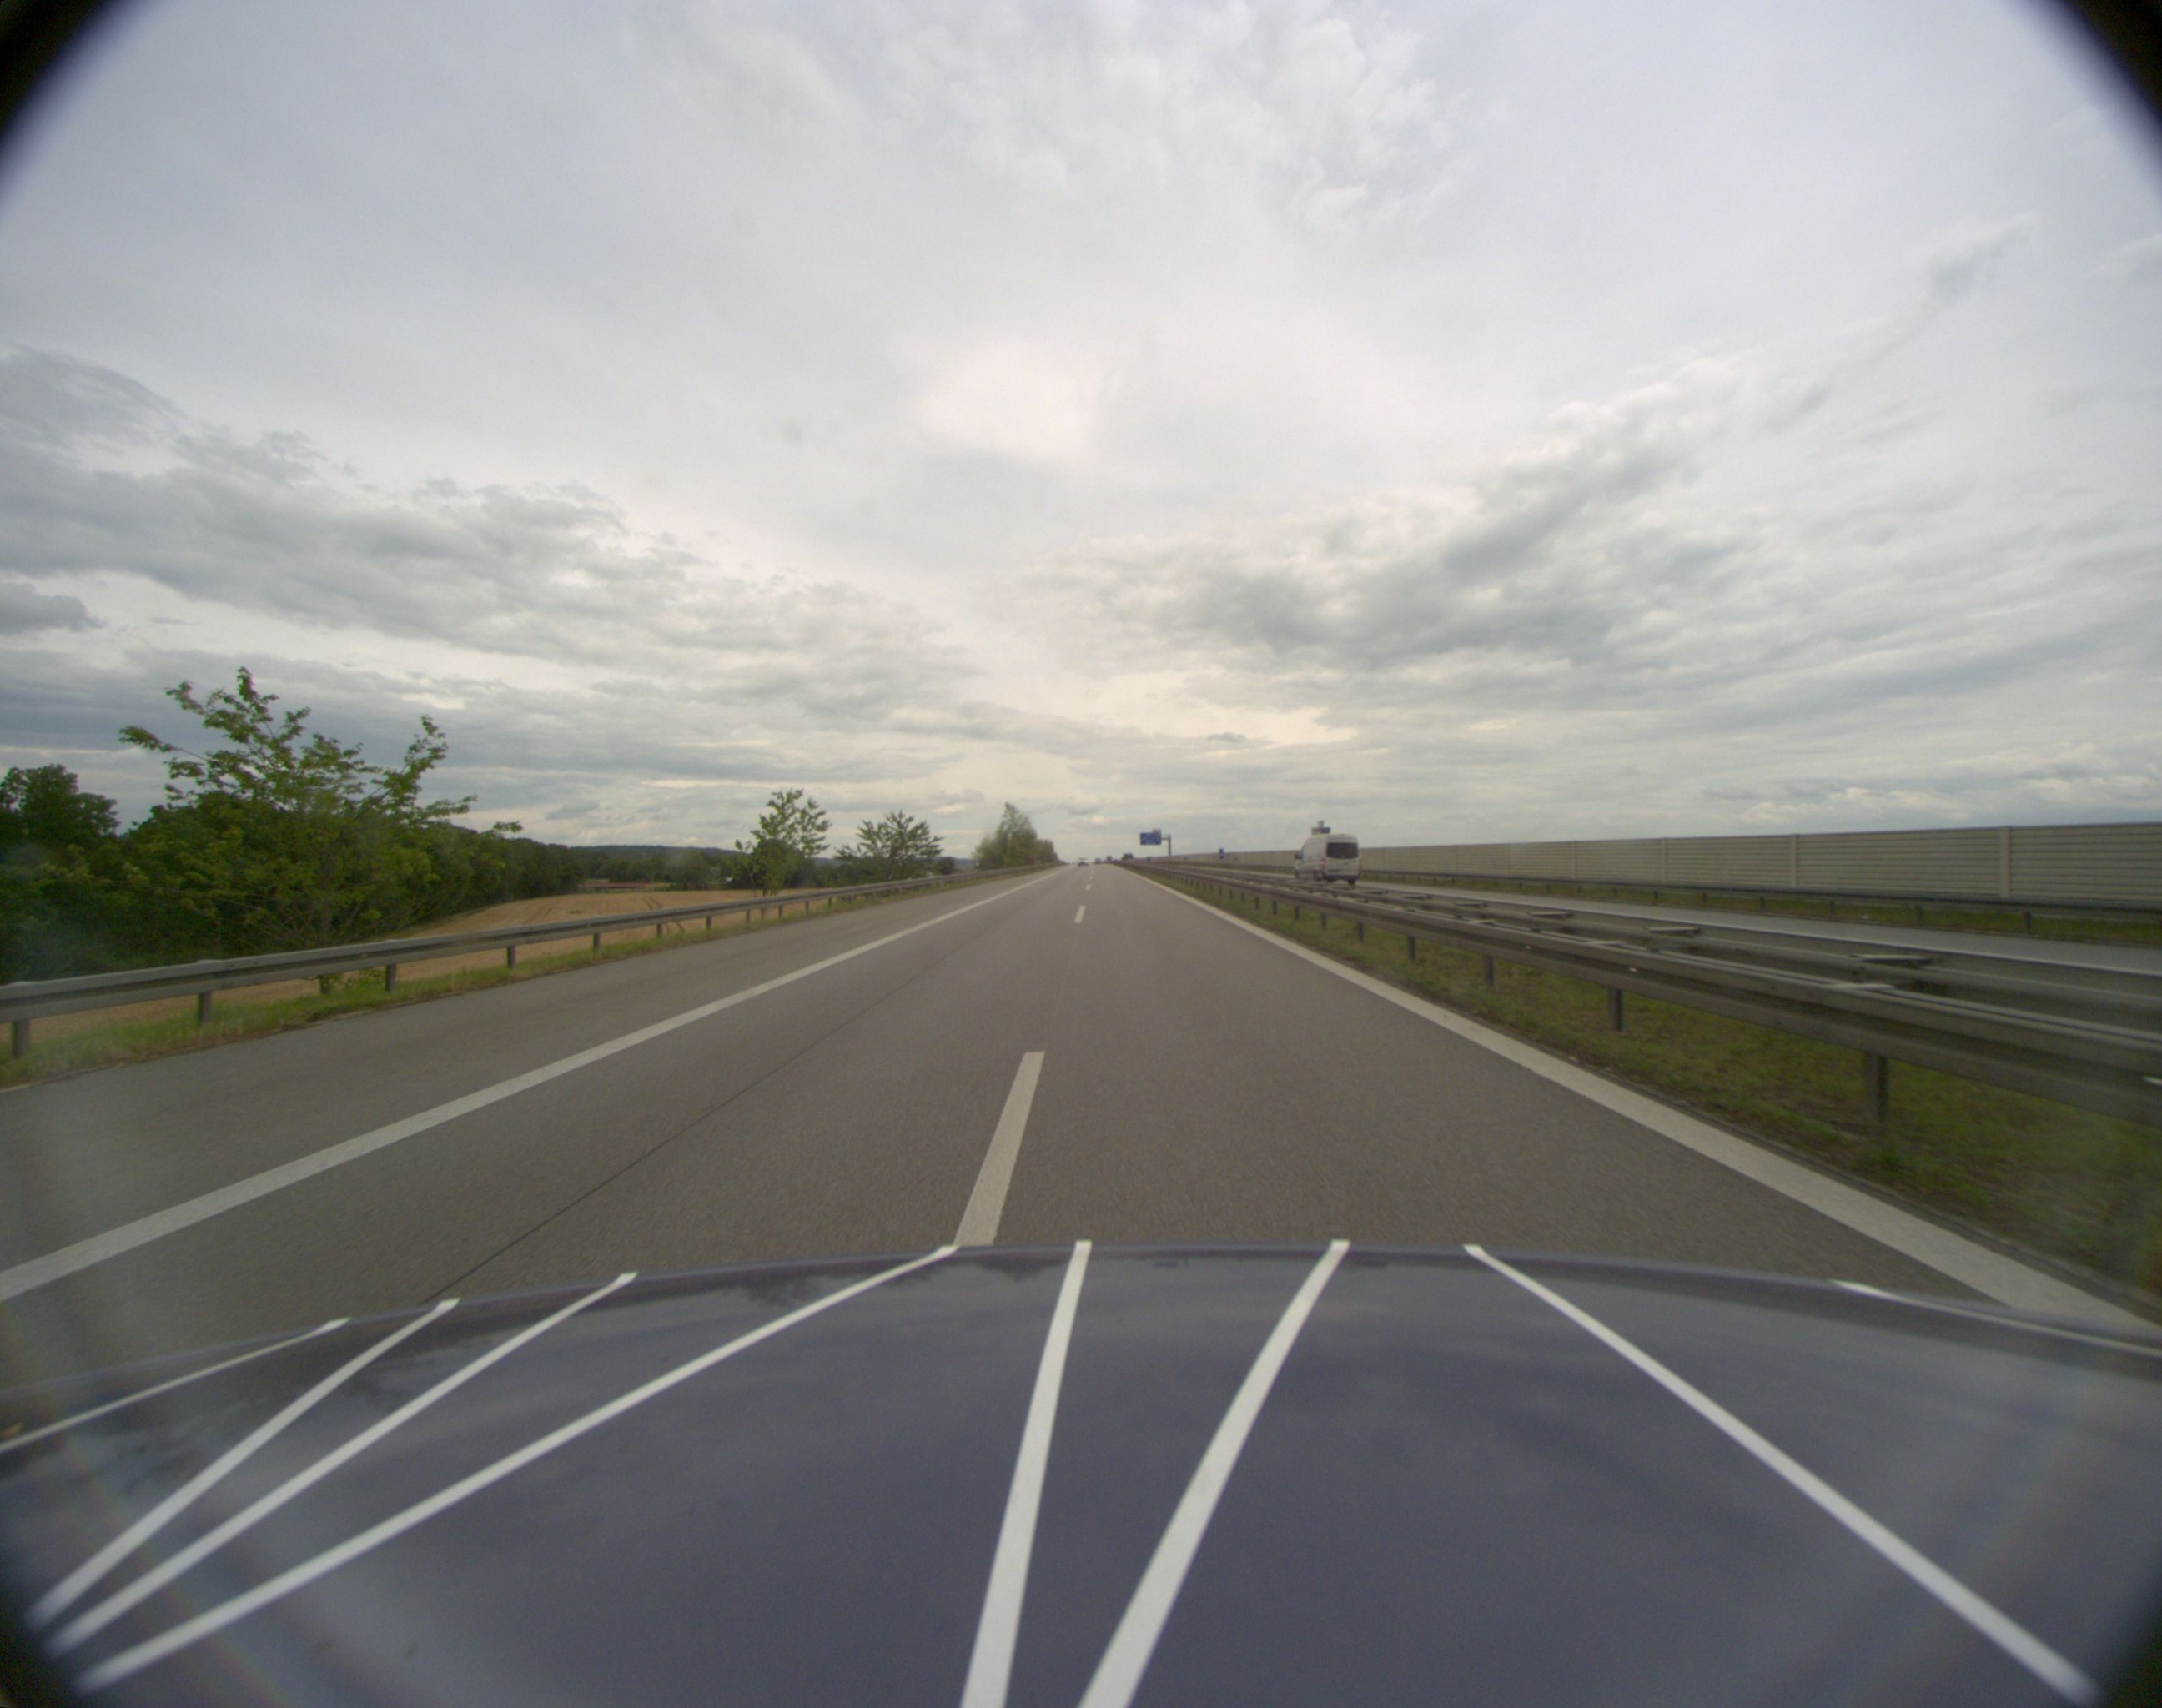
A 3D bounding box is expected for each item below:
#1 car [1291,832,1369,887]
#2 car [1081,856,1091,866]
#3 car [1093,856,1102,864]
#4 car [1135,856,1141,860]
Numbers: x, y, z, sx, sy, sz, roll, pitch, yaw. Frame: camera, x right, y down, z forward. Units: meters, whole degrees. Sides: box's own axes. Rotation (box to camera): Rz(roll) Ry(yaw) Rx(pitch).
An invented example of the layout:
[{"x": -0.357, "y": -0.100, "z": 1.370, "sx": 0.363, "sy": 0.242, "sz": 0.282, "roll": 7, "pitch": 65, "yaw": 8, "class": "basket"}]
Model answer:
[{"x": 13.021, "y": 0.243, "z": 40.226, "sx": 2.075, "sy": 2.588, "sz": 6.289, "roll": 2, "pitch": 1, "yaw": 1, "class": "car"}, {"x": 0.930, "y": 1.283, "z": 139.786, "sx": 1.850, "sy": 1.664, "sz": 4.200, "roll": 0, "pitch": -2, "yaw": 0, "class": "car"}, {"x": 3.730, "y": 1.308, "z": 174.044, "sx": 1.850, "sy": 1.664, "sz": 4.200, "roll": 0, "pitch": -2, "yaw": 0, "class": "car"}, {"x": 19.143, "y": 1.375, "z": 256.519, "sx": 1.662, "sy": 1.321, "sz": 4.609, "roll": 3, "pitch": 0, "yaw": 1, "class": "car"}]
